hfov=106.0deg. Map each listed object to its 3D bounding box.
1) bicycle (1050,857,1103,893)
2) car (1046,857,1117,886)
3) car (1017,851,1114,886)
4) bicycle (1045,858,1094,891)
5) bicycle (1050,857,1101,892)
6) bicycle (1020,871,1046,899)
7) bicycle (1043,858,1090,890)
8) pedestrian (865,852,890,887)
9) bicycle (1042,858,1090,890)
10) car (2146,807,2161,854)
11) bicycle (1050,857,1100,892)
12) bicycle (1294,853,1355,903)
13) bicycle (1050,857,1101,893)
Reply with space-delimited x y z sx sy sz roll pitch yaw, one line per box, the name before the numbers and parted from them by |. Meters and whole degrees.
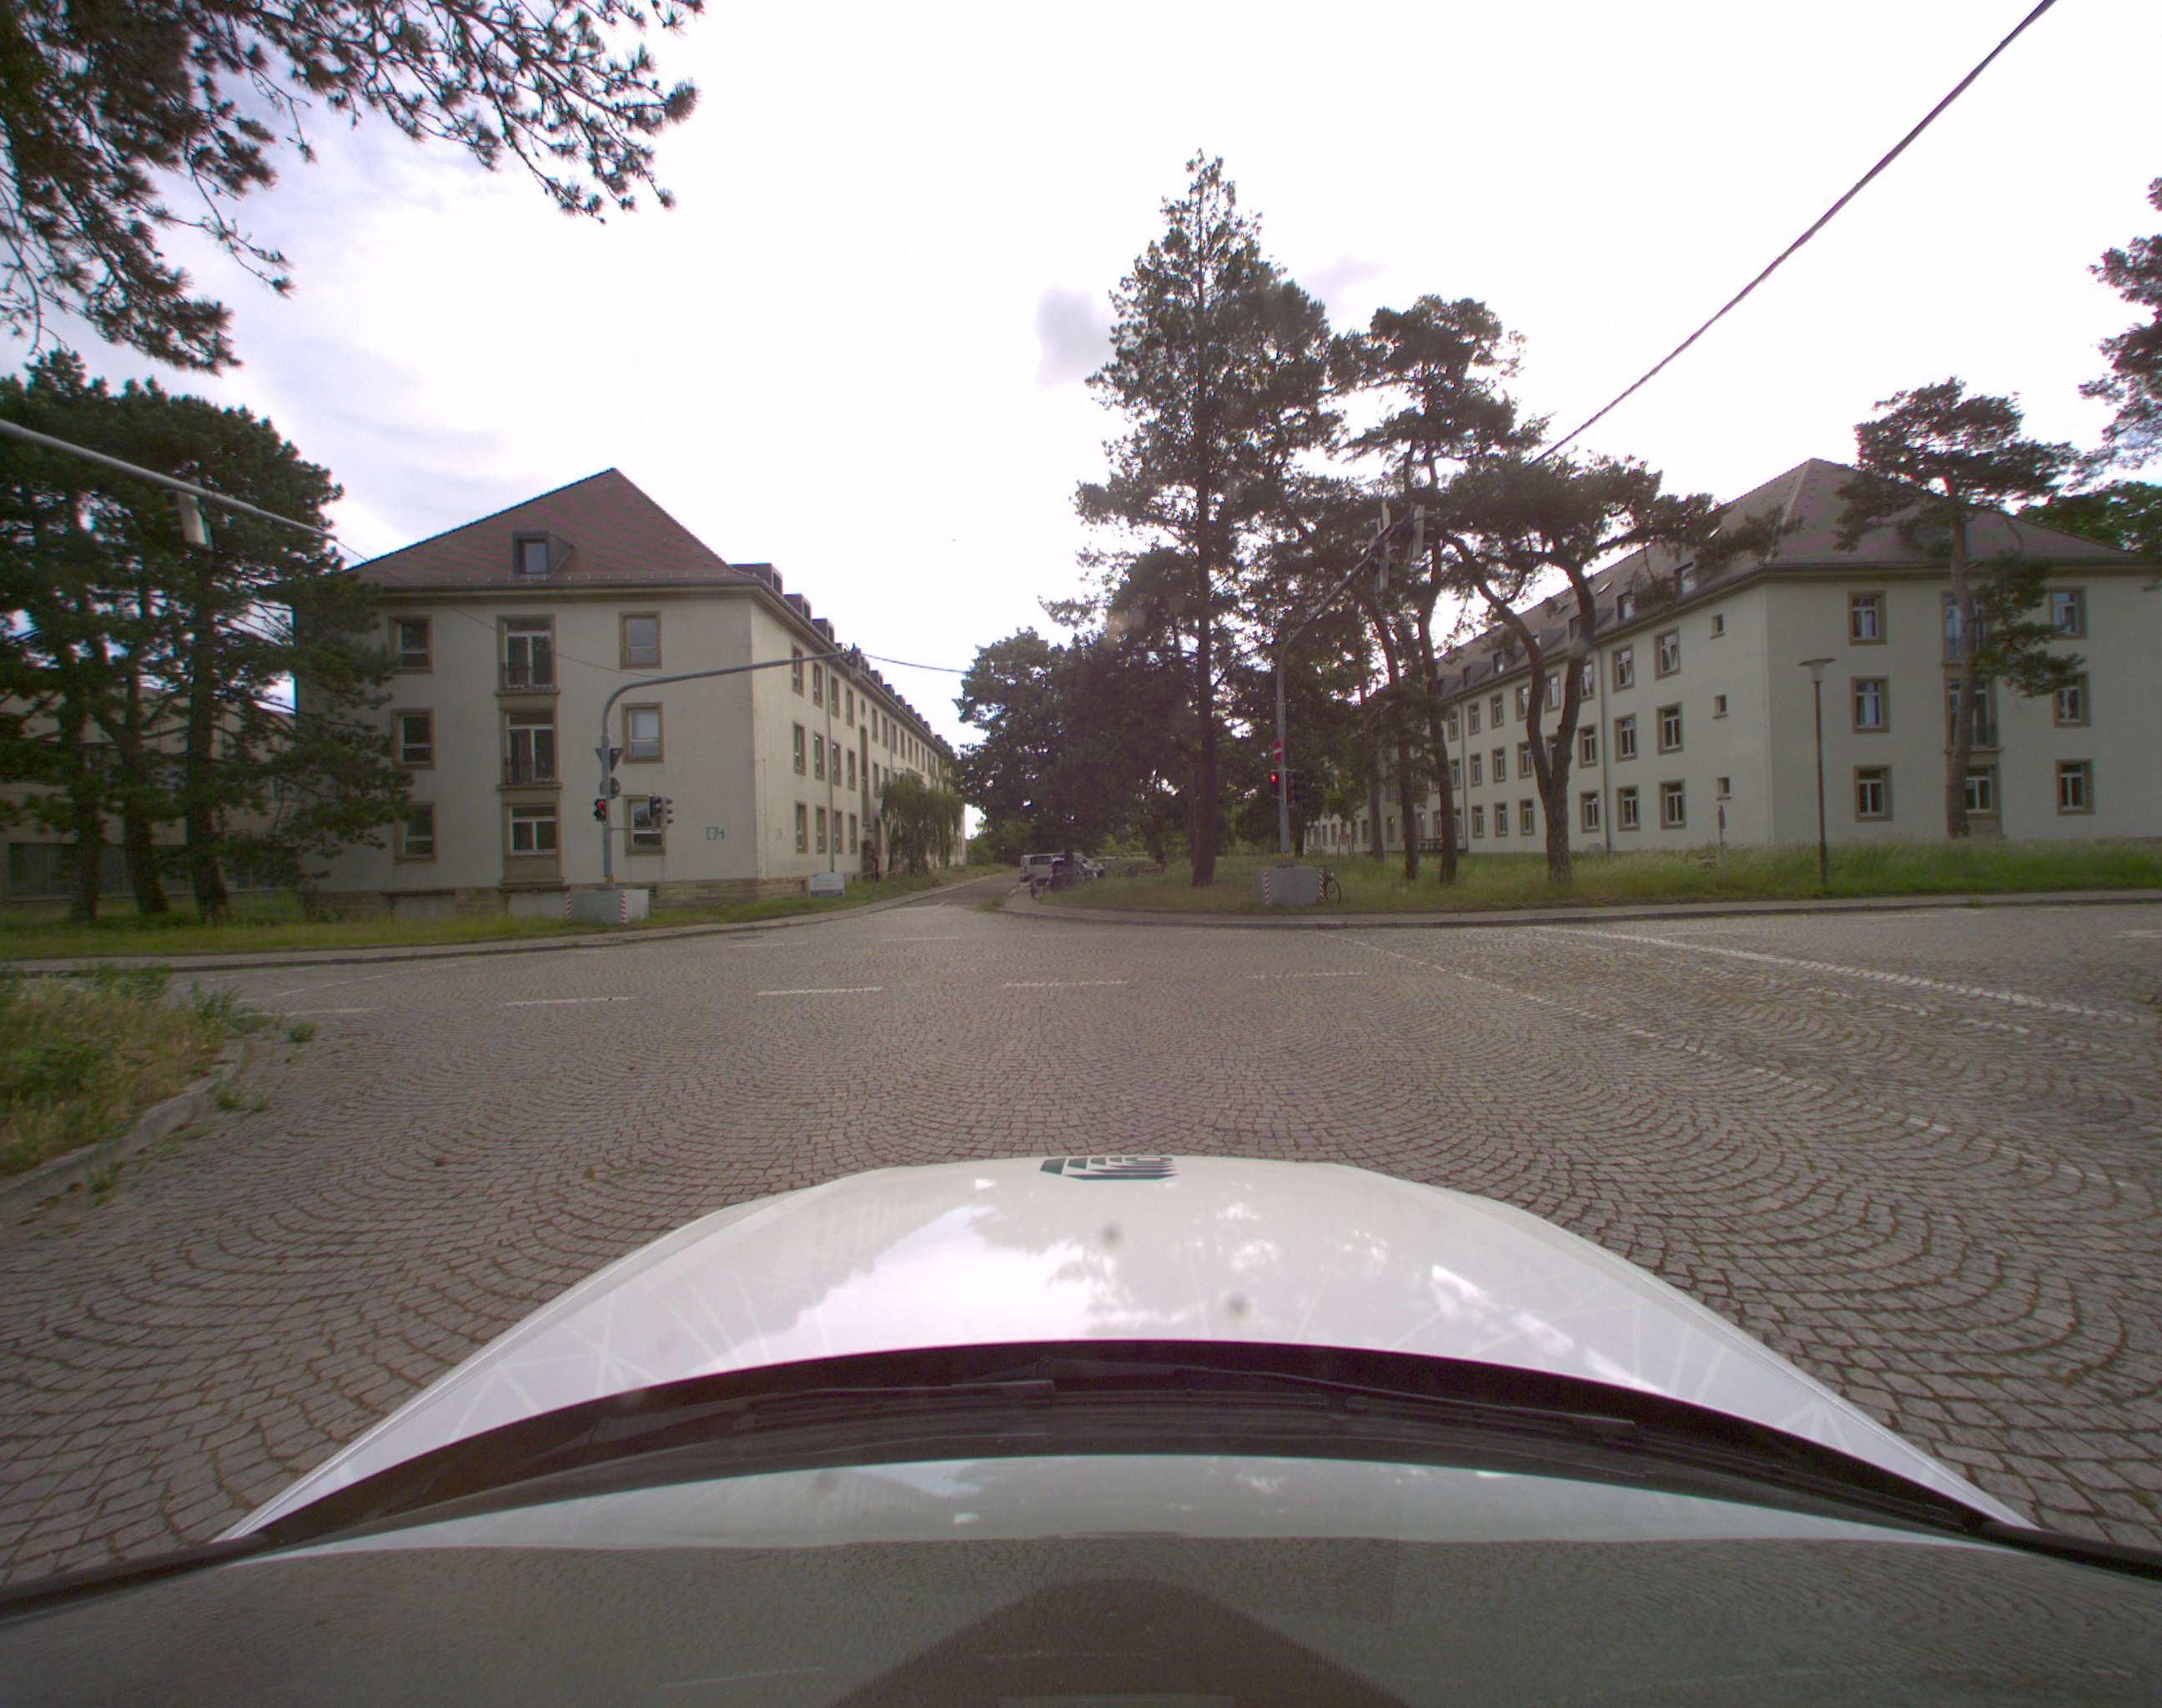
bicycle | -0.167 0.842 32.704 2.064 1.378 0.620 -2 -1 -1
car | -0.018 0.989 47.226 3.927 1.544 1.996 -2 0 -6
car | -0.979 0.891 50.570 5.699 1.910 2.219 -2 0 -14
bicycle | -0.488 0.877 35.585 2.064 1.378 0.620 -2 -1 -1
bicycle | -0.239 0.858 33.997 2.064 1.378 0.620 -2 -1 -1
bicycle | -1.814 1.157 30.858 0.615 0.963 2.080 -2 0 6
bicycle | -0.653 0.897 37.066 2.064 1.378 0.620 -2 -1 -1
pedestrian | -11.933 0.885 47.858 1.082 2.014 1.023 -2 -1 4
bicycle | -0.653 0.887 36.319 2.064 1.378 0.620 -2 -1 -1
car | 54.661 -1.212 38.725 5.164 2.288 2.213 -2 -1 0
bicycle | -0.246 0.868 34.794 2.064 1.378 0.620 -2 -1 -1
bicycle | 6.136 0.594 20.615 0.906 1.177 1.873 -2 0 -2
bicycle | -0.223 0.850 33.373 2.064 1.378 0.620 -2 -1 -1
